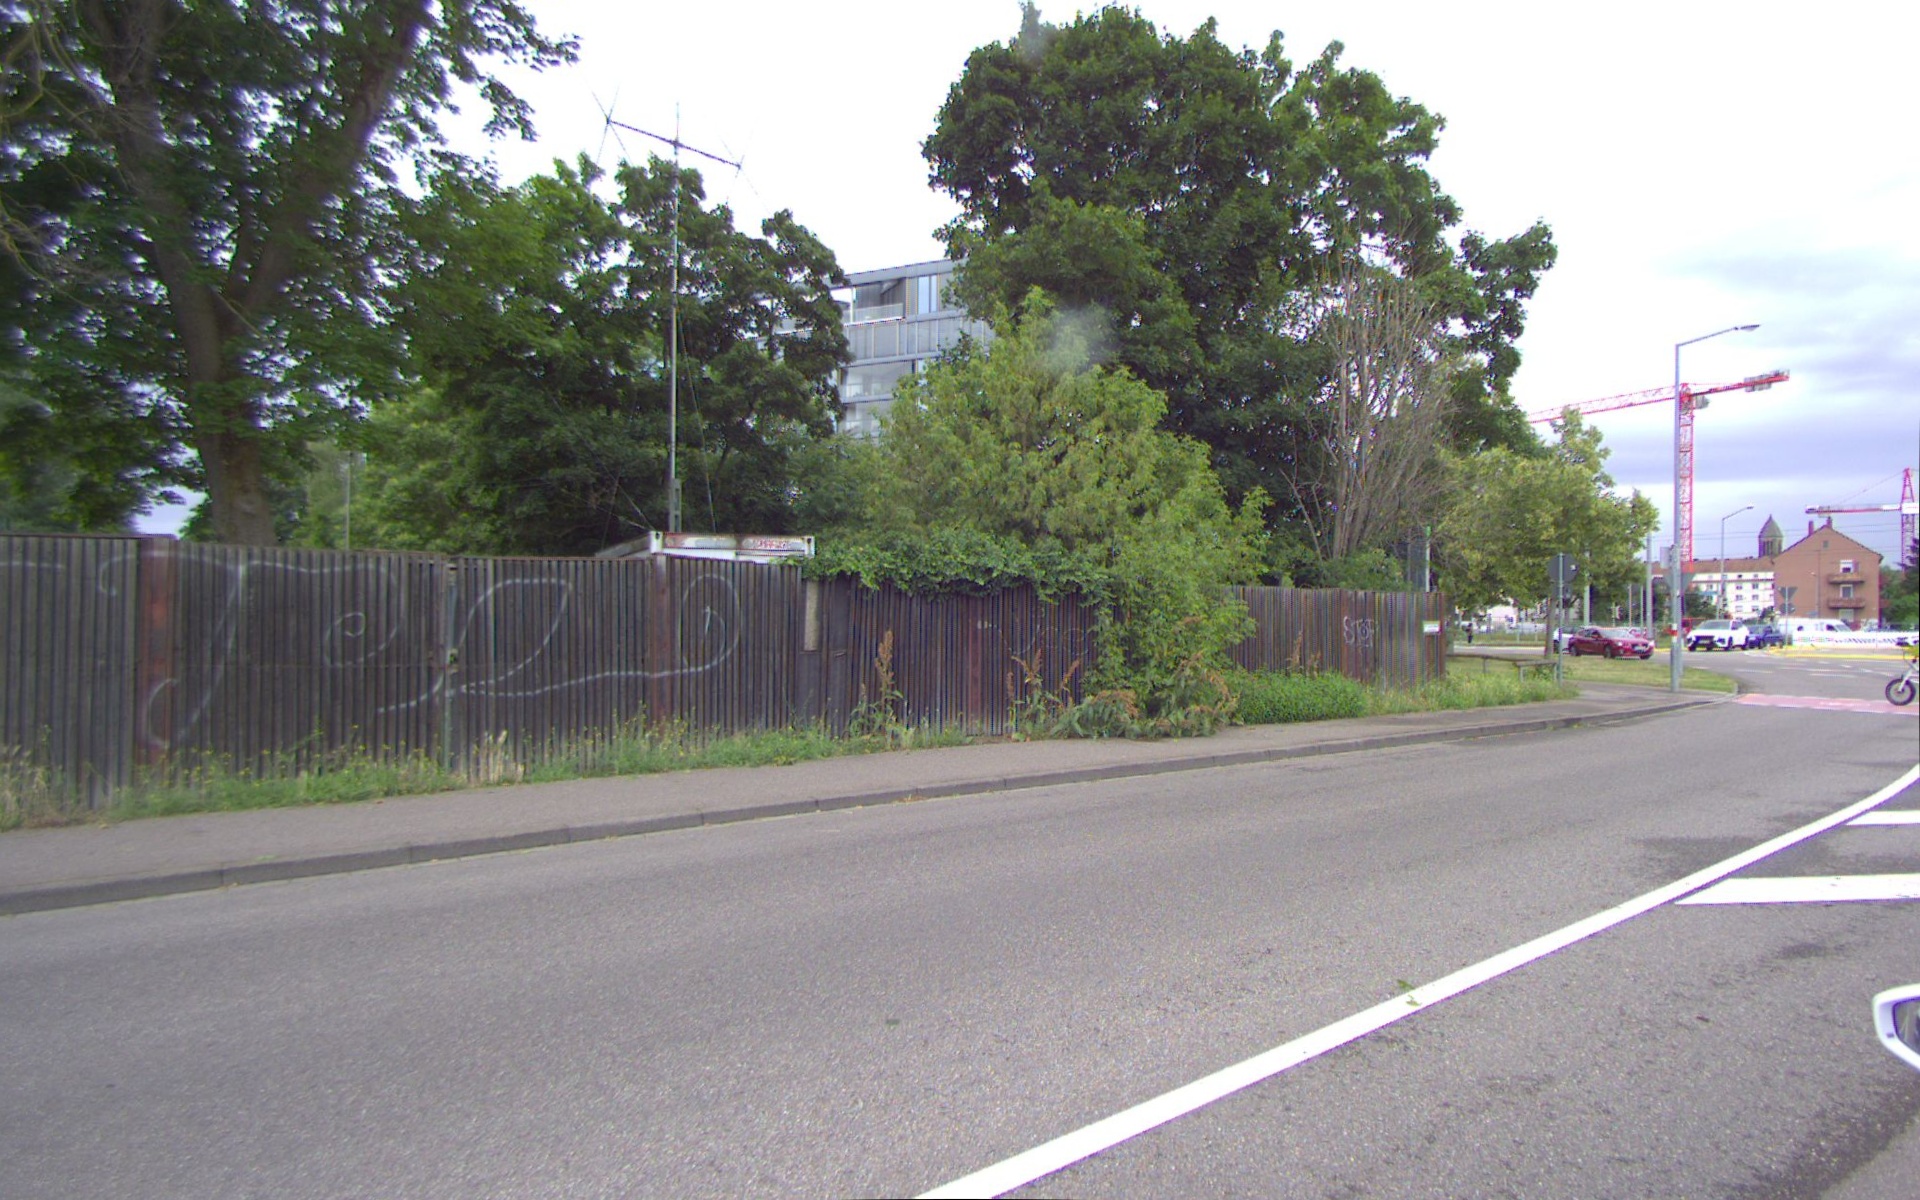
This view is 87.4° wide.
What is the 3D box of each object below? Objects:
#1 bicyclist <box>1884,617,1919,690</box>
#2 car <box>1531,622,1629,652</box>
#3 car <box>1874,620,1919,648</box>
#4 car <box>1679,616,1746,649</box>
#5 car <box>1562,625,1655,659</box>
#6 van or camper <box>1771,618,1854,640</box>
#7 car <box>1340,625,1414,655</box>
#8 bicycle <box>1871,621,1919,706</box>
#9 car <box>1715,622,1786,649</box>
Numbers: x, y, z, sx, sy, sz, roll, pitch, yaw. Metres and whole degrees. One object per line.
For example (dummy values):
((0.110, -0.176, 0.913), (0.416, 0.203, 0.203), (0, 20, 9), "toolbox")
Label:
((18.826, 1.040, 19.556), (0.604, 1.420, 1.062), (0, -1, -13), "bicyclist")
((32.430, 1.914, 52.655), (1.970, 1.528, 3.981), (1, -1, -21), "car")
((58.760, 2.052, 60.892), (4.580, 1.656, 2.001), (0, -1, 9), "car")
((40.714, 1.727, 54.312), (4.151, 1.706, 1.916), (1, -1, -38), "car")
((30.114, 1.931, 46.805), (1.959, 1.483, 4.360), (0, -1, 7), "car")
((84.156, 2.839, 99.271), (1.969, 2.040, 6.171), (1, -1, -19), "van or camper")
((27.946, 2.634, 67.470), (2.065, 1.925, 4.831), (0, -1, -17), "car")
((18.814, 1.229, 19.598), (0.595, 1.633, 1.478), (0, -1, -12), "bicycle")
((45.957, 2.021, 58.393), (3.953, 1.509, 1.922), (1, -1, -30), "car")
